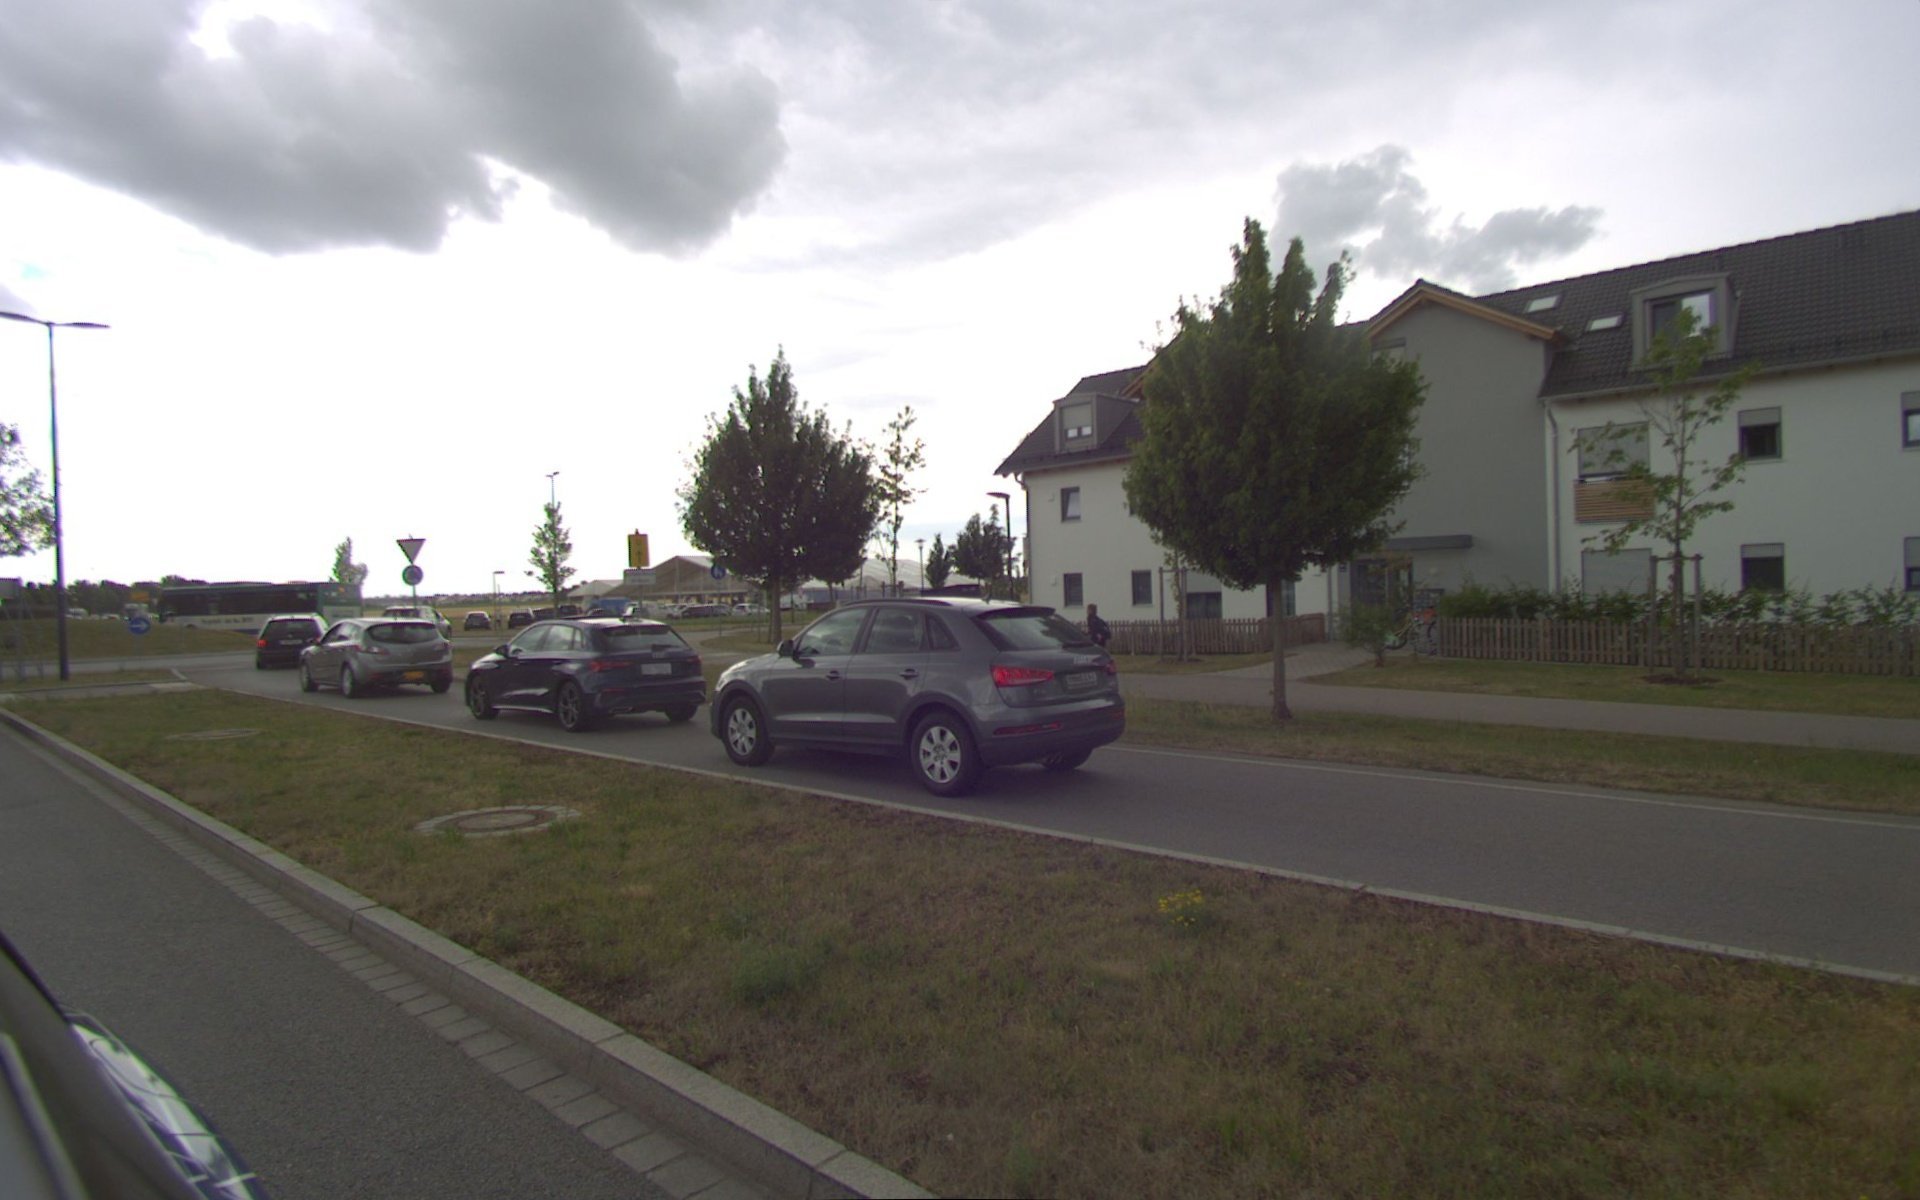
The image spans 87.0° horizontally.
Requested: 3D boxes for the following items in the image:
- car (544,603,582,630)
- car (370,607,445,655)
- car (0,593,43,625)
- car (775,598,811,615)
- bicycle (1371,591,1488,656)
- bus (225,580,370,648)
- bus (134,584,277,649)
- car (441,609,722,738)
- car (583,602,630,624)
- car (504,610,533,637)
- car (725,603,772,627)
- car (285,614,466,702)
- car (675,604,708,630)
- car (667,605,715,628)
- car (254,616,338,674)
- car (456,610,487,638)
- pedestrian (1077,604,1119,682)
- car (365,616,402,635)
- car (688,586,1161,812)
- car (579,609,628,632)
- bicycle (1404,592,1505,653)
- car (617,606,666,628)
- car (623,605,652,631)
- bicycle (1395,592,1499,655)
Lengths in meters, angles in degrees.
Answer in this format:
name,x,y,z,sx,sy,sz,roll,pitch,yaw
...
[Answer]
name,x,y,z,sx,sy,sz,roll,pitch,yaw
car,-30.719,1.312,78.255,1.966,2.029,4.011,0,-1,-34
car,-21.823,1.175,40.135,1.800,1.735,4.413,0,0,-18
car,-51.725,0.498,54.326,1.967,1.697,4.010,-1,-1,-12
car,-20.442,0.852,123.936,1.991,2.029,4.523,-1,-1,28
bicycle,10.803,0.547,23.341,2.342,1.423,0.675,-2,-1,41
bus,-34.339,0.766,52.458,6.431,3.305,2.976,-1,-1,18
bus,-40.574,0.902,54.446,6.647,3.305,2.976,-1,-1,18
car,-5.328,0.917,13.958,4.348,1.500,1.806,-2,-1,41
car,-34.135,1.234,97.875,1.991,2.029,3.961,-1,-1,28
car,-33.657,1.781,77.172,1.965,2.029,4.013,0,-1,-24
car,-18.671,1.320,89.335,1.991,2.029,3.961,-1,-1,28
car,-11.440,1.067,19.696,4.214,1.500,1.806,-2,-1,41
car,-22.256,1.425,83.782,2.194,2.029,4.013,-1,-1,-21
car,-24.322,1.450,91.650,1.991,2.029,3.961,-1,-1,28
car,-18.871,1.228,28.665,1.801,1.500,4.347,0,-1,-36
car,-36.801,1.820,76.303,1.965,2.029,4.013,0,-1,-24
pedestrian,2.852,0.874,20.877,0.586,1.541,0.540,-2,1,41
car,-42.065,1.869,73.901,1.965,1.298,4.013,-1,-1,-24
car,-0.492,0.737,9.210,4.214,1.594,1.806,-2,-1,41
car,-32.723,1.831,92.940,1.991,2.029,3.961,-1,-1,28
bicycle,12.006,0.550,24.608,2.093,1.439,0.675,-2,-1,41
car,-29.034,1.540,92.430,1.994,2.029,3.956,-2,-1,32
car,-26.496,1.485,83.108,1.965,2.029,4.013,-1,-1,-21
bicycle,11.529,0.555,24.015,2.093,1.428,0.675,-2,-1,41
